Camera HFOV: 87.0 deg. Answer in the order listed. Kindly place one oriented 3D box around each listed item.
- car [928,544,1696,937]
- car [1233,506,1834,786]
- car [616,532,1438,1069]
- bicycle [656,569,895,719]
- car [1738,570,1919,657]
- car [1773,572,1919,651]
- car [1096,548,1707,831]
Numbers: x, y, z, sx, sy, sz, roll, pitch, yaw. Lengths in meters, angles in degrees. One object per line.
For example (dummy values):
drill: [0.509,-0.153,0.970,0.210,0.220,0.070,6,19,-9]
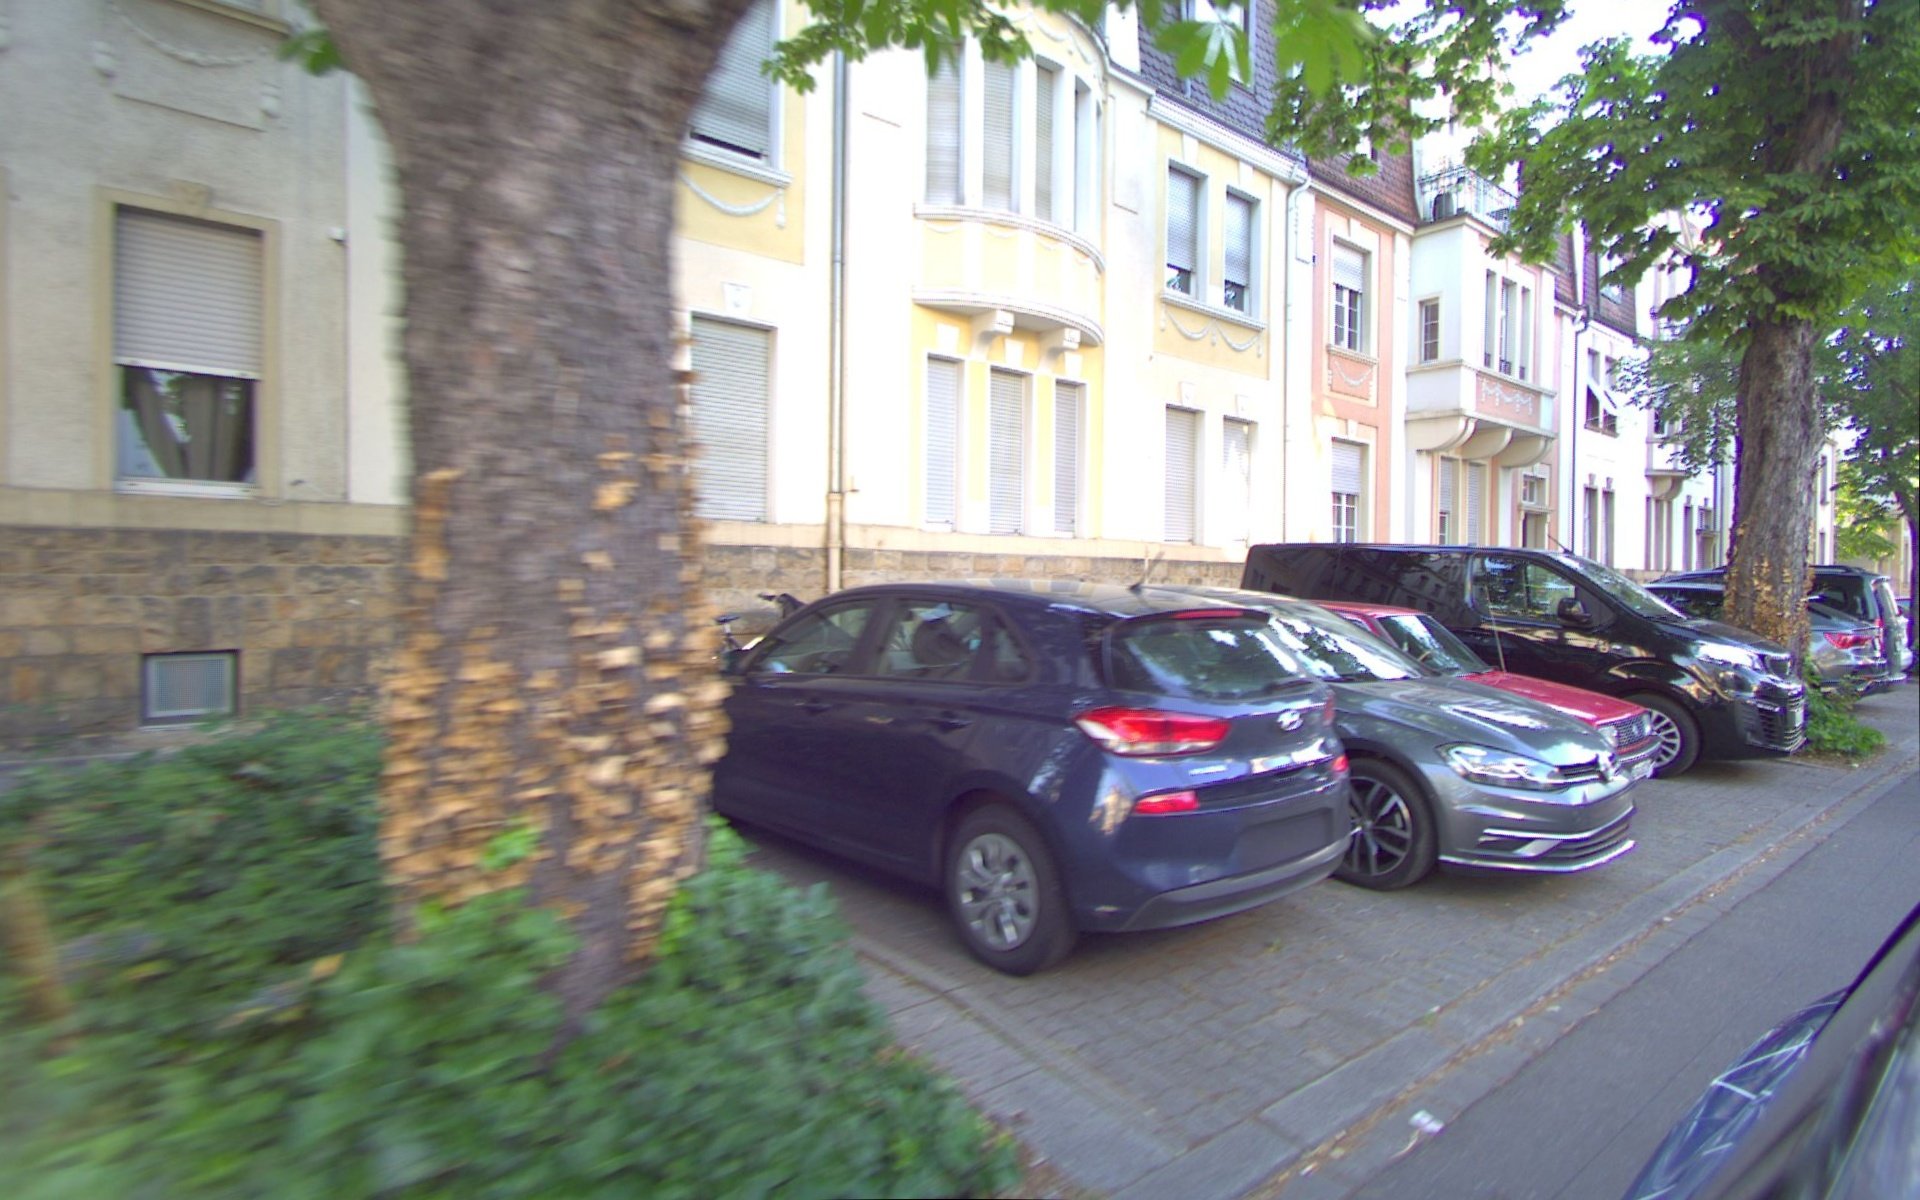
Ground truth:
car: [1.887,0.562,6.427,1.966,1.627,4.203,-1,1,-41]
car: [5.227,0.316,9.802,1.966,2.039,4.704,0,0,-41]
car: [-0.024,0.597,5.338,1.939,1.649,4.203,-1,0,-41]
bicycle: [-1.765,0.383,9.872,2.162,1.300,0.762,0,3,-37]
car: [21.214,0.285,23.515,1.966,1.897,4.704,0,0,-41]
car: [23.311,0.260,25.067,1.966,1.897,4.704,0,0,-41]
car: [3.366,0.521,8.349,1.966,1.709,4.203,-1,0,-41]
